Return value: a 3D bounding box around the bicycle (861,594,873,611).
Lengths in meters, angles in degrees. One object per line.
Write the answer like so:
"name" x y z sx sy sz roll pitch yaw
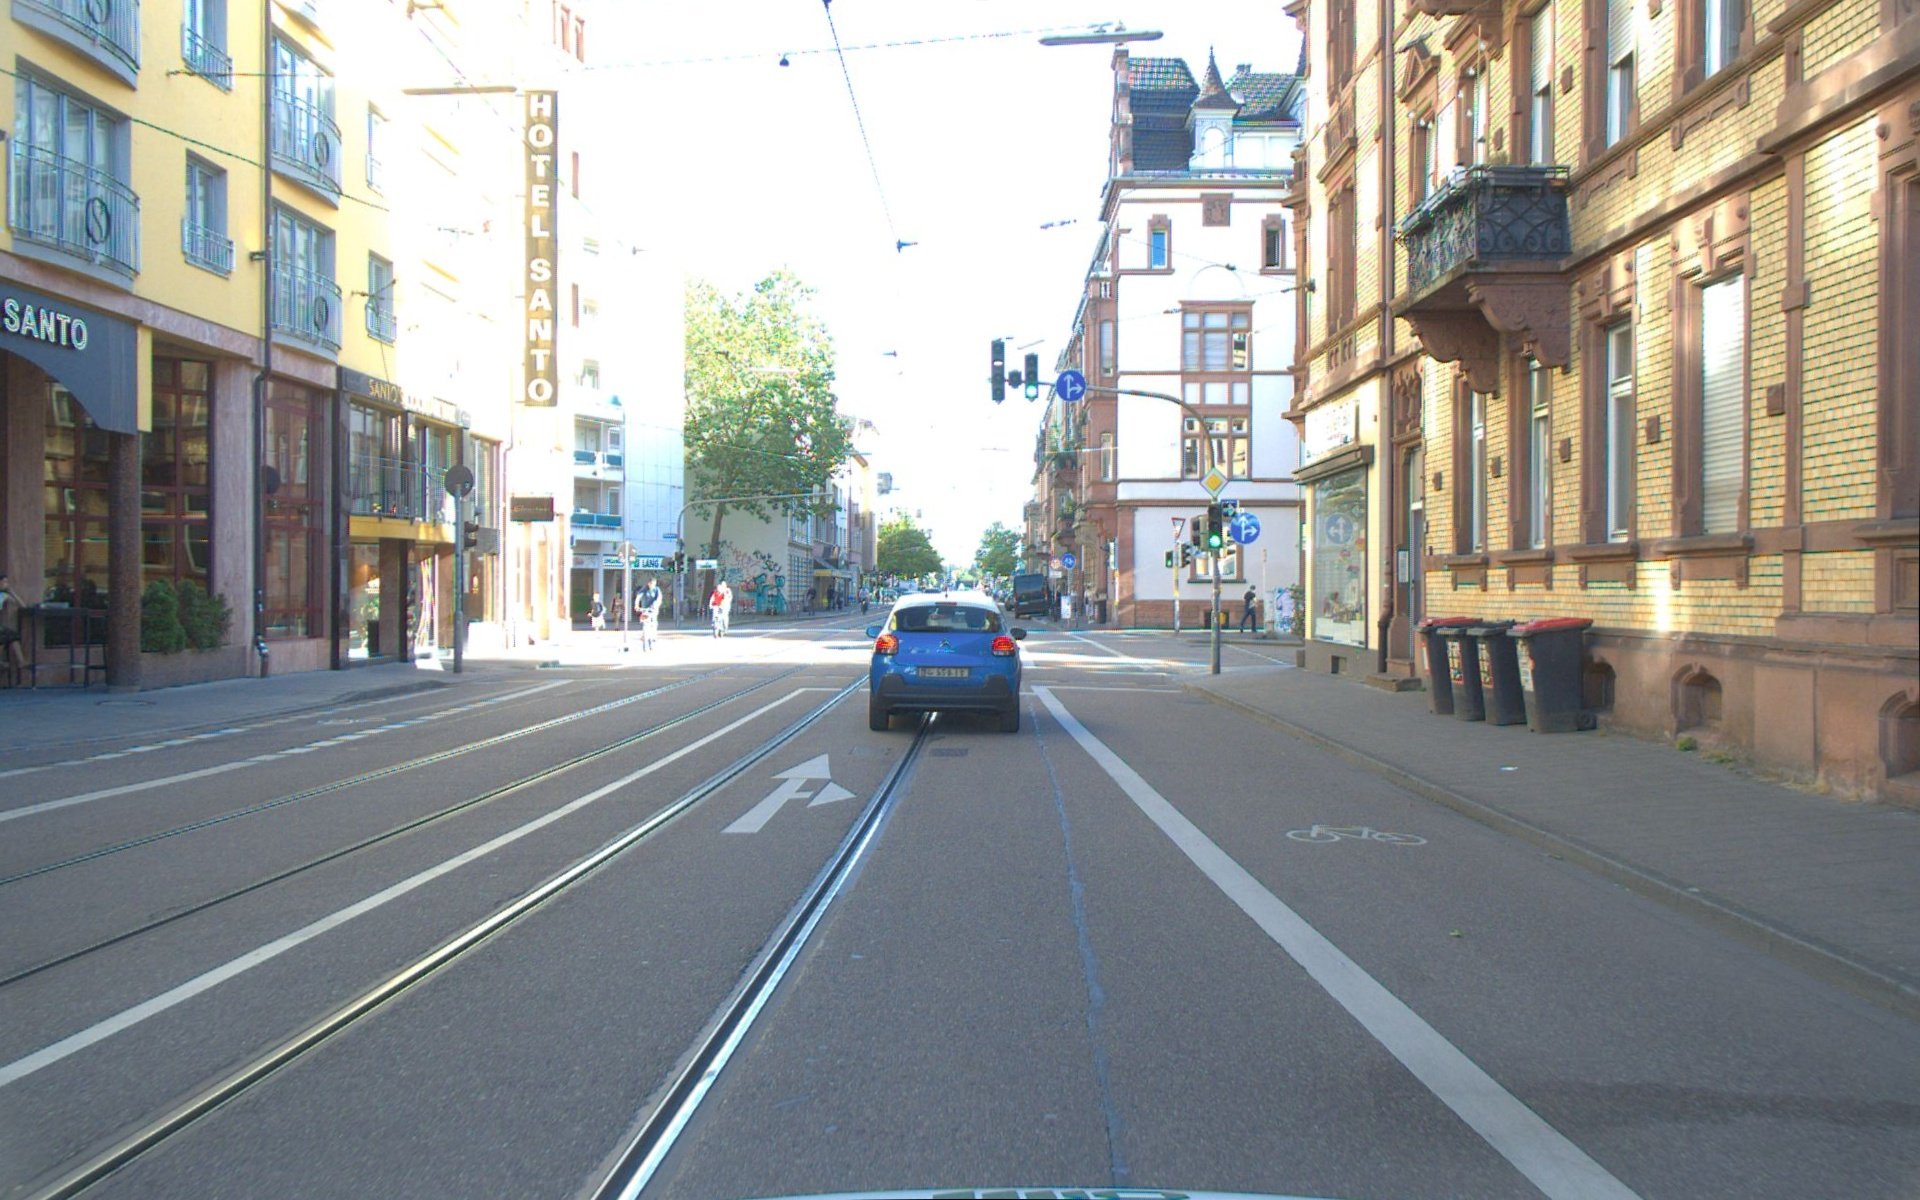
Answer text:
"bicycle" -6.116 0.169 109.043 0.678 1.140 2.083 0 0 0

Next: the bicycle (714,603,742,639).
"bicycle" -8.005 0.702 57.104 0.716 1.204 2.061 0 0 -1

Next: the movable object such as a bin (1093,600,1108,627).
"movable object such as a bin" 6.200 0.601 73.070 0.652 1.174 0.594 0 0 1

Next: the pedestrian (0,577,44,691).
"pedestrian" -13.339 0.465 23.148 0.690 1.574 0.601 0 0 5

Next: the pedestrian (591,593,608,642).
"pedestrian" -10.615 0.504 48.690 0.395 1.435 0.516 0 0 -1

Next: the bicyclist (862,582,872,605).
"bicyclist" -6.123 -0.409 108.939 0.668 1.509 0.778 0 0 -1

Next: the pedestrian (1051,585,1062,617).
"pedestrian" 6.101 0.050 104.611 0.573 2.049 0.823 0 0 -1

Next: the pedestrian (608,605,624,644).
"pedestrian" -13.918 1.000 66.969 0.531 1.579 0.516 0 0 -1

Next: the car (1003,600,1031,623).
"car" 4.346 0.865 126.570 1.964 1.701 4.806 0 0 0

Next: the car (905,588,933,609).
"car" -2.972 -0.143 121.342 1.945 1.528 4.308 0 1 -1

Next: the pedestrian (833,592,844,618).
"pedestrian" -8.682 0.348 118.101 0.696 1.795 0.570 0 0 -1

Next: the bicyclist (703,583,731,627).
"bicyclist" -7.933 0.166 53.965 0.720 1.405 1.468 0 0 -1

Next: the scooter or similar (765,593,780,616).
"scooter or similar" -11.209 0.284 98.974 0.772 1.294 1.075 2 2 -1

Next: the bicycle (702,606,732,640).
"bicycle" -7.921 0.739 53.965 0.716 1.084 2.061 0 0 -1

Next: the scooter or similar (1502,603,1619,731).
"scooter or similar" 5.895 0.643 16.274 0.774 1.168 0.790 -4 0 -1

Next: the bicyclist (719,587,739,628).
"bicyclist" -7.951 0.258 56.923 0.578 1.400 0.679 0 0 -1

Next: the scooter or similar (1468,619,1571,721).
"scooter or similar" 5.810 0.720 17.218 0.774 0.974 0.680 -4 0 -1

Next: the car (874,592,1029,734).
"car" -0.137 0.657 19.553 1.640 1.503 3.999 0 0 -1

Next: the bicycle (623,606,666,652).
"bicycle" -8.034 0.728 42.203 0.716 1.107 2.061 0 0 -1

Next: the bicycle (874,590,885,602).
"bicycle" -9.324 -0.428 190.777 1.098 1.342 3.640 0 0 -5

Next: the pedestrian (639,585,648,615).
"pedestrian" -18.658 0.008 97.530 0.446 1.748 0.547 0 0 -1

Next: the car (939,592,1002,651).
"car" 0.244 0.539 44.860 1.633 1.504 4.000 0 0 -1

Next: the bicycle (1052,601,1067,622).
"bicycle" 4.732 0.533 78.749 0.423 0.964 1.761 0 0 -7

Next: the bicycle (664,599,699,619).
"bicycle" -15.386 0.499 91.370 1.878 1.052 0.664 0 0 27

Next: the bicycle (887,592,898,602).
"bicycle" -7.828 -0.353 191.008 1.098 1.166 3.640 0 0 -5

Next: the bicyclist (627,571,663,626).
"bicyclist" -8.045 -0.042 42.254 0.709 1.405 1.227 0 0 -1

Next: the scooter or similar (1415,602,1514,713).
"scooter or similar" 5.758 0.646 18.894 0.879 1.168 0.547 -5 0 -1

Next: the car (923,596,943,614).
"car" -2.627 0.473 160.548 1.953 1.774 4.562 0 0 -1

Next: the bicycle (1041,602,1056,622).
"bicycle" 4.209 0.566 78.691 0.423 0.964 1.761 0 0 -7

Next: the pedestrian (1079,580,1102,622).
"pedestrian" 5.911 0.034 74.859 0.692 1.811 0.673 -10 0 -1

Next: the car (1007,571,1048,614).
"car" 4.015 -0.474 99.050 2.225 2.479 5.720 0 0 0

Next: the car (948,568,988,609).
"car" 0.401 -0.589 84.369 1.953 2.049 4.000 -1 0 -1

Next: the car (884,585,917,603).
"car" -8.630 -0.863 239.463 4.254 2.626 2.192 0 0 -26

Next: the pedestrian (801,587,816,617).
"pedestrian" -9.337 0.117 102.009 0.668 1.796 1.026 0 0 11

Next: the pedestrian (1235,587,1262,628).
"pedestrian" 10.637 0.262 60.952 0.918 1.482 0.823 0 0 14

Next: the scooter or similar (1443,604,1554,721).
"scooter or similar" 5.817 0.669 17.907 0.914 1.168 0.650 -4 0 -1
